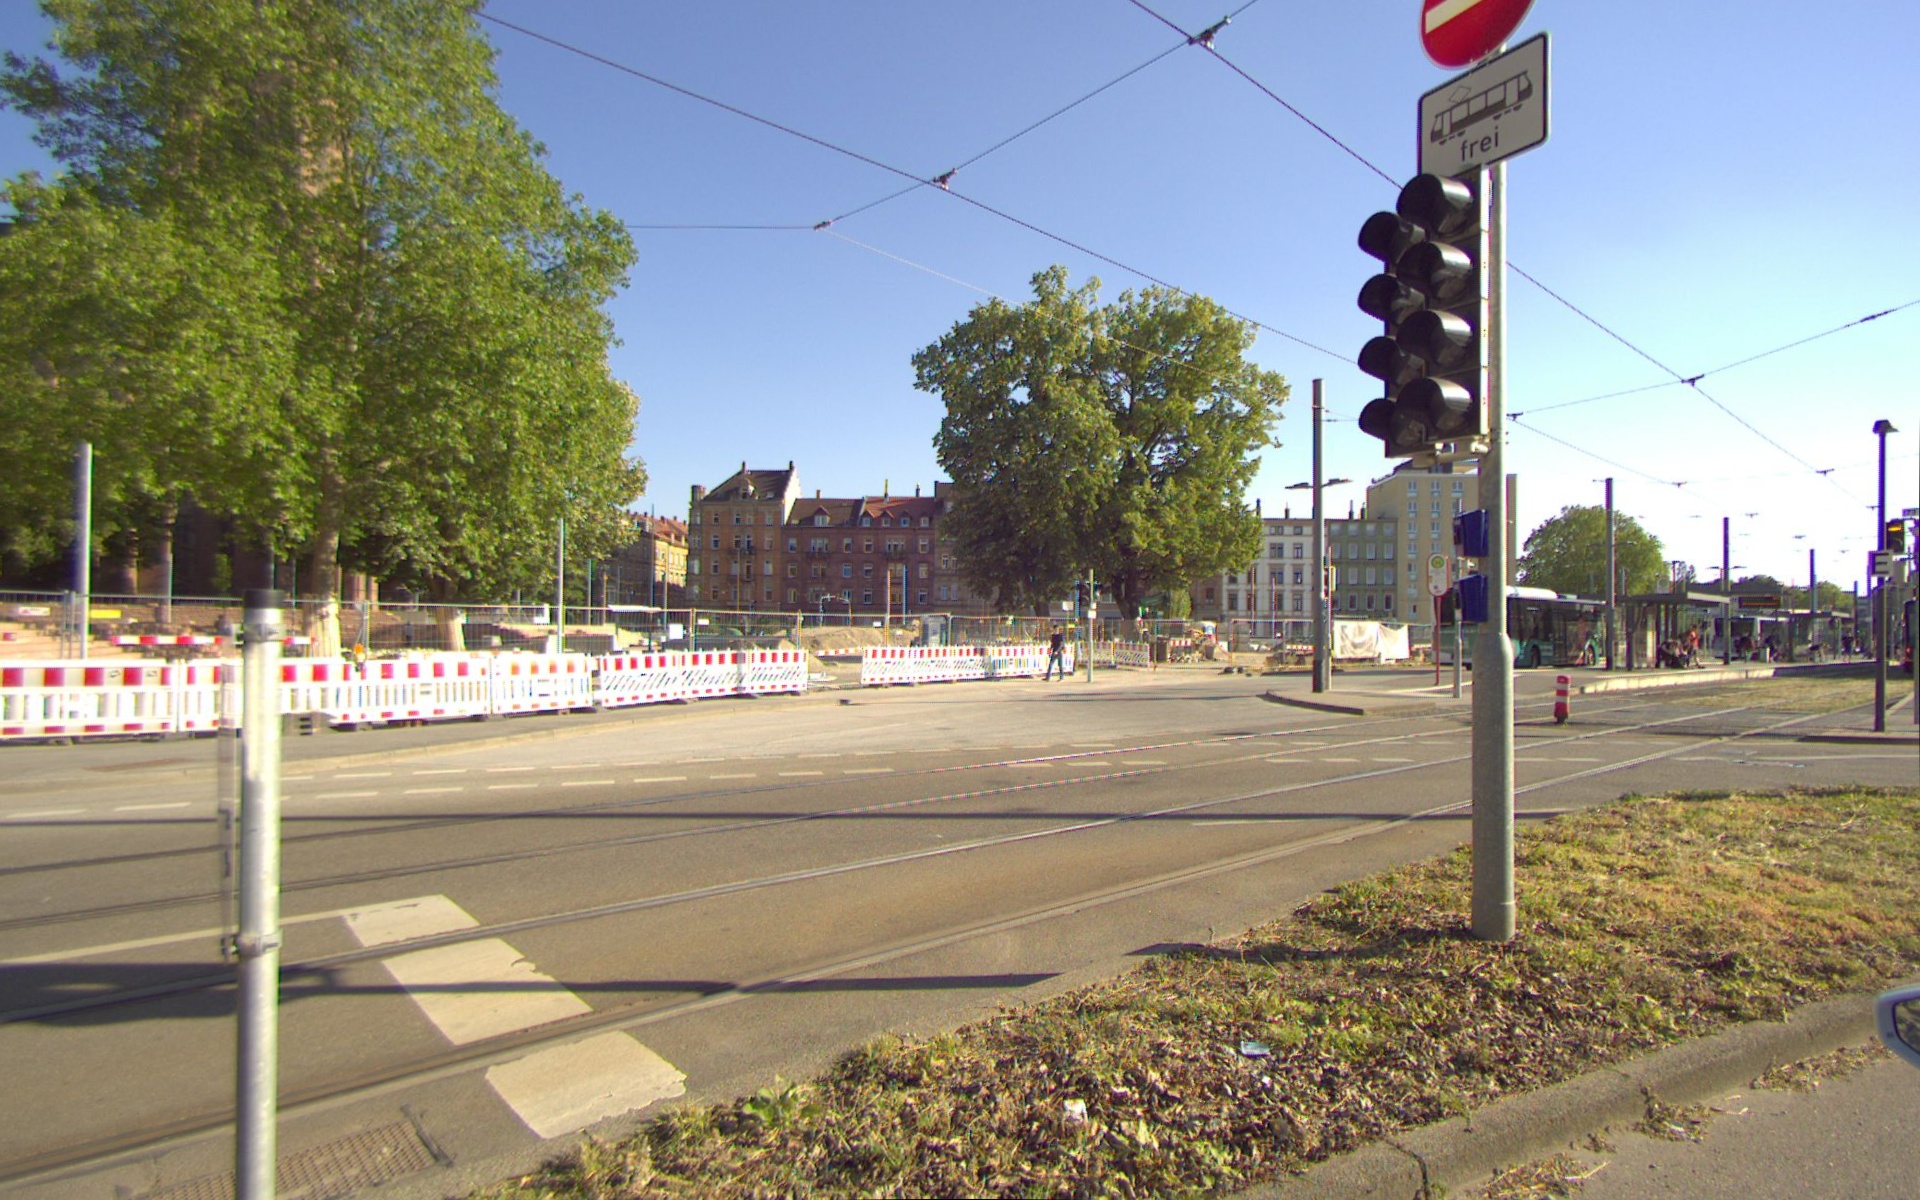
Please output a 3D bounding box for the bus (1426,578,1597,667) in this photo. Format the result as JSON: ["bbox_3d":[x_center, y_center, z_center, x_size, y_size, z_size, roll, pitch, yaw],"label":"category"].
[{"bbox_3d":[21.997,0.905,39.750,9.564,3.177,2.631,2,0,-40],"label":"bus"}]

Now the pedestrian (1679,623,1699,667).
[{"bbox_3d":[29.558,1.816,40.728,0.564,1.772,0.636,-1,-2,43],"label":"pedestrian"}]

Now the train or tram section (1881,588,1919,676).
[{"bbox_3d":[44.752,1.497,45.827,12.108,3.644,2.855,2,0,-42],"label":"train or tram section"}]

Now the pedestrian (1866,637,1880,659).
[{"bbox_3d":[71.188,3.737,78.332,0.634,1.772,0.728,2,-2,-37],"label":"pedestrian"}]

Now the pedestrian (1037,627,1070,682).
[{"bbox_3d":[3.014,1.752,32.200,0.699,1.719,0.899,-1,-4,33],"label":"pedestrian"}]

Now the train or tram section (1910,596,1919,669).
[{"bbox_3d":[53.889,1.824,53.781,12.100,3.644,2.987,2,0,-40],"label":"train or tram section"}]

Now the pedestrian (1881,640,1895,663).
[{"bbox_3d":[71.450,3.940,77.316,0.636,1.772,0.726,2,-2,-45],"label":"pedestrian"}]

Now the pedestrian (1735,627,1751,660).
[{"bbox_3d":[42.300,2.345,54.269,0.629,1.772,0.570,-1,-2,34],"label":"pedestrian"}]

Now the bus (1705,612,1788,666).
[{"bbox_3d":[53.957,2.638,68.749,13.376,3.317,2.694,2,0,-44],"label":"bus"}]

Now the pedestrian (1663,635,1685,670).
[{"bbox_3d":[27.670,2.024,38.932,0.609,1.358,0.438,-1,-2,44],"label":"pedestrian"}]

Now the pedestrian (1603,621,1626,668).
[{"bbox_3d":[25.068,1.703,38.472,0.554,1.772,0.534,2,-2,-35],"label":"pedestrian"}]

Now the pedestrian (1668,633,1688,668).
[{"bbox_3d":[28.179,1.988,39.408,0.564,1.363,0.636,-1,-2,43],"label":"pedestrian"}]

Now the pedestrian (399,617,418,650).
[{"bbox_3d":[-27.694,1.683,50.477,0.751,1.669,0.671,1,-1,-26],"label":"pedestrian"}]

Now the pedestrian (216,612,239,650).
[{"bbox_3d":[-33.327,1.408,45.713,0.665,1.669,0.635,1,-1,-18],"label":"pedestrian"}]

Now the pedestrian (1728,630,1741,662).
[{"bbox_3d":[44.593,2.646,57.845,0.564,1.772,0.636,-1,-2,41],"label":"pedestrian"}]

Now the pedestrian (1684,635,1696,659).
[{"bbox_3d":[54.062,3.461,74.392,0.568,1.772,0.632,2,-2,-41],"label":"pedestrian"}]

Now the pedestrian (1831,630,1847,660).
[{"bbox_3d":[51.962,2.670,59.372,0.629,1.772,0.570,-1,-2,34],"label":"pedestrian"}]
